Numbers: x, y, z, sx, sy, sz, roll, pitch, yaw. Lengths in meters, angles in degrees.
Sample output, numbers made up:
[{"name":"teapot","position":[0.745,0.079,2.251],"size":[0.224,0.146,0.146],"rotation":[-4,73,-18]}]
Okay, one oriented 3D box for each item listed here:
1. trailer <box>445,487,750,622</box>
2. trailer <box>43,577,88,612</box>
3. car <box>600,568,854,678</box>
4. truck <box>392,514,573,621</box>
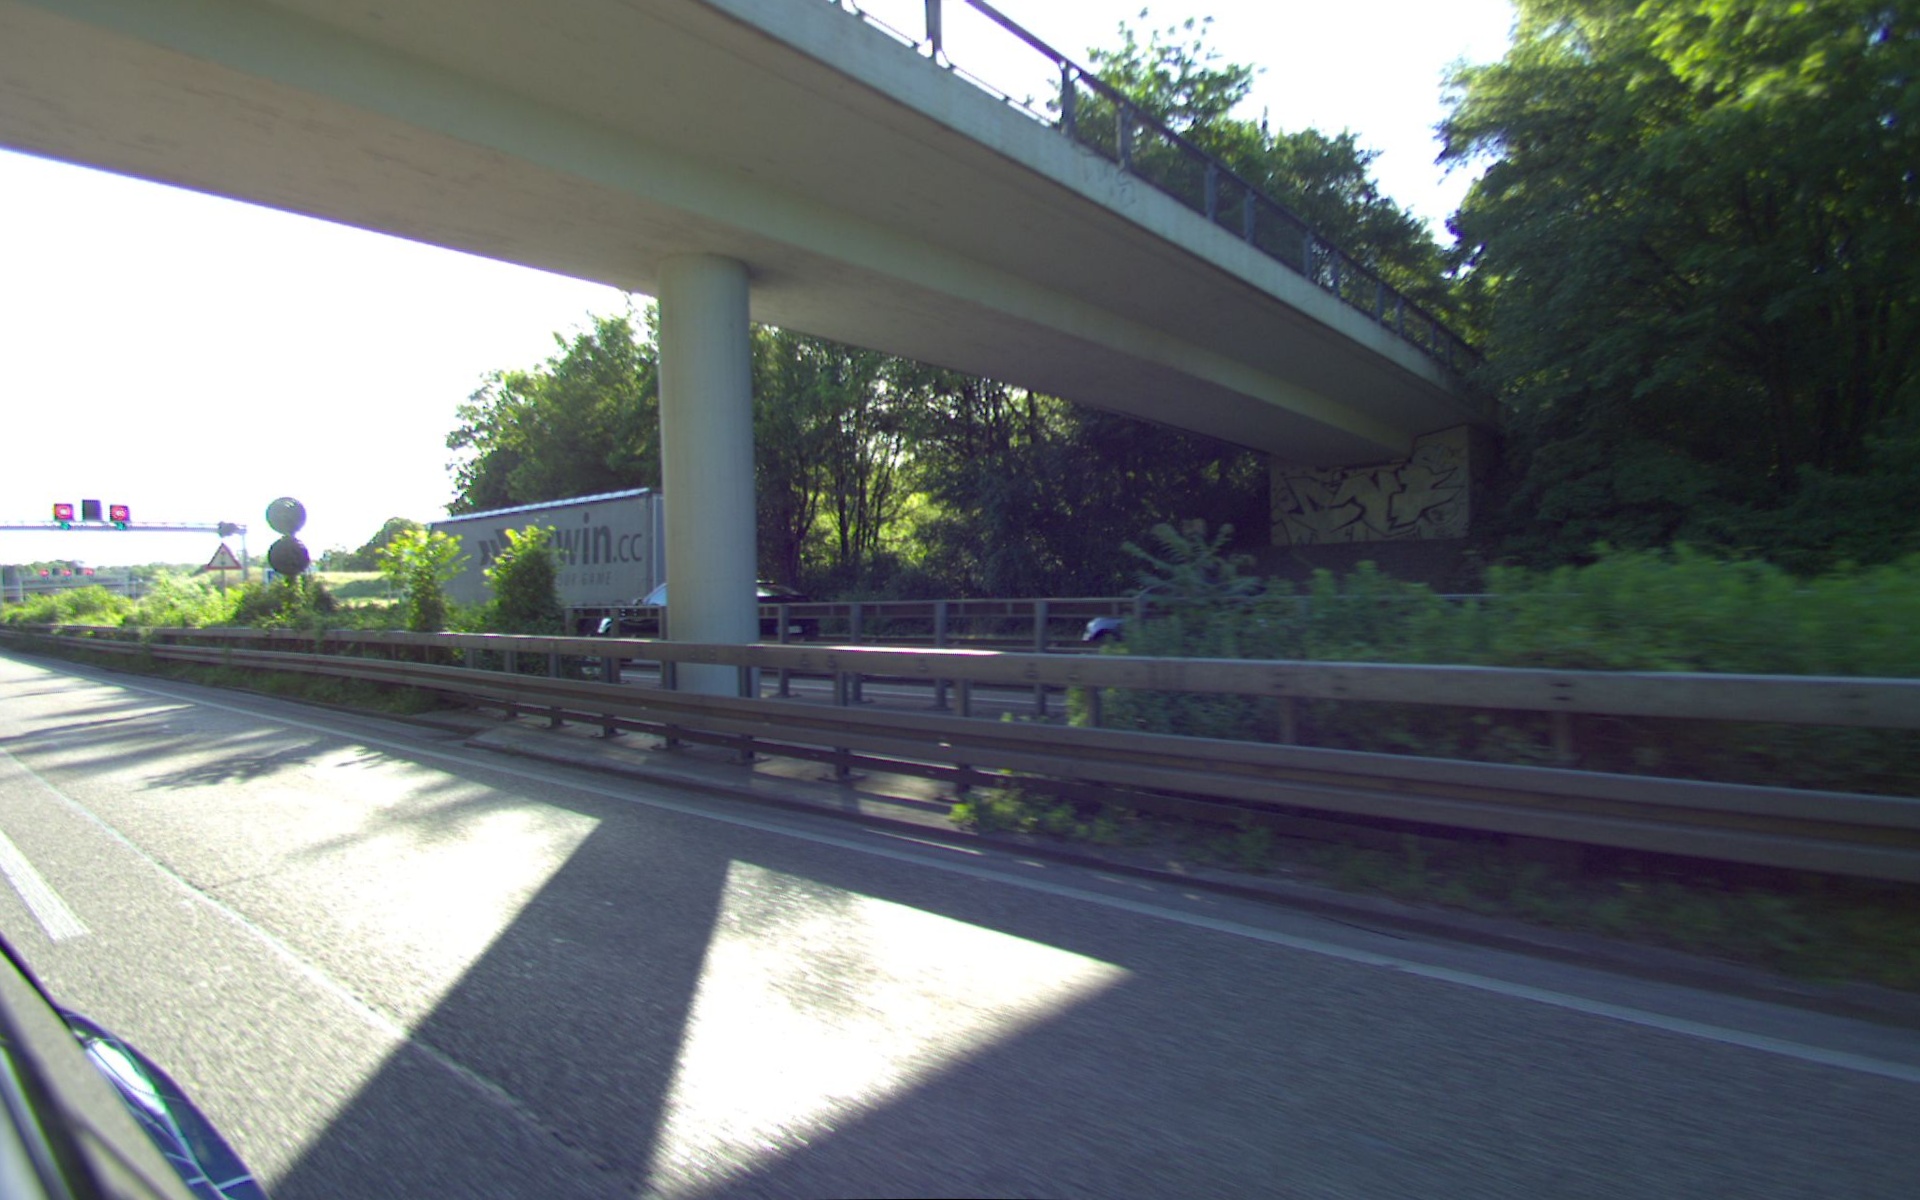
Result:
[{"name":"trailer","position":[-10.820,-1.043,28.971],"size":[11.912,3.192,2.899],"rotation":[-1,0,42]},{"name":"trailer","position":[-109.042,-0.625,123.269],"size":[14.031,4.018,2.989],"rotation":[-1,0,44]},{"name":"car","position":[-4.230,0.367,17.909],"size":[4.738,1.699,1.973],"rotation":[-1,0,41]},{"name":"truck","position":[-15.947,-0.962,33.572],"size":[7.081,3.192,2.899],"rotation":[-1,0,42]}]
